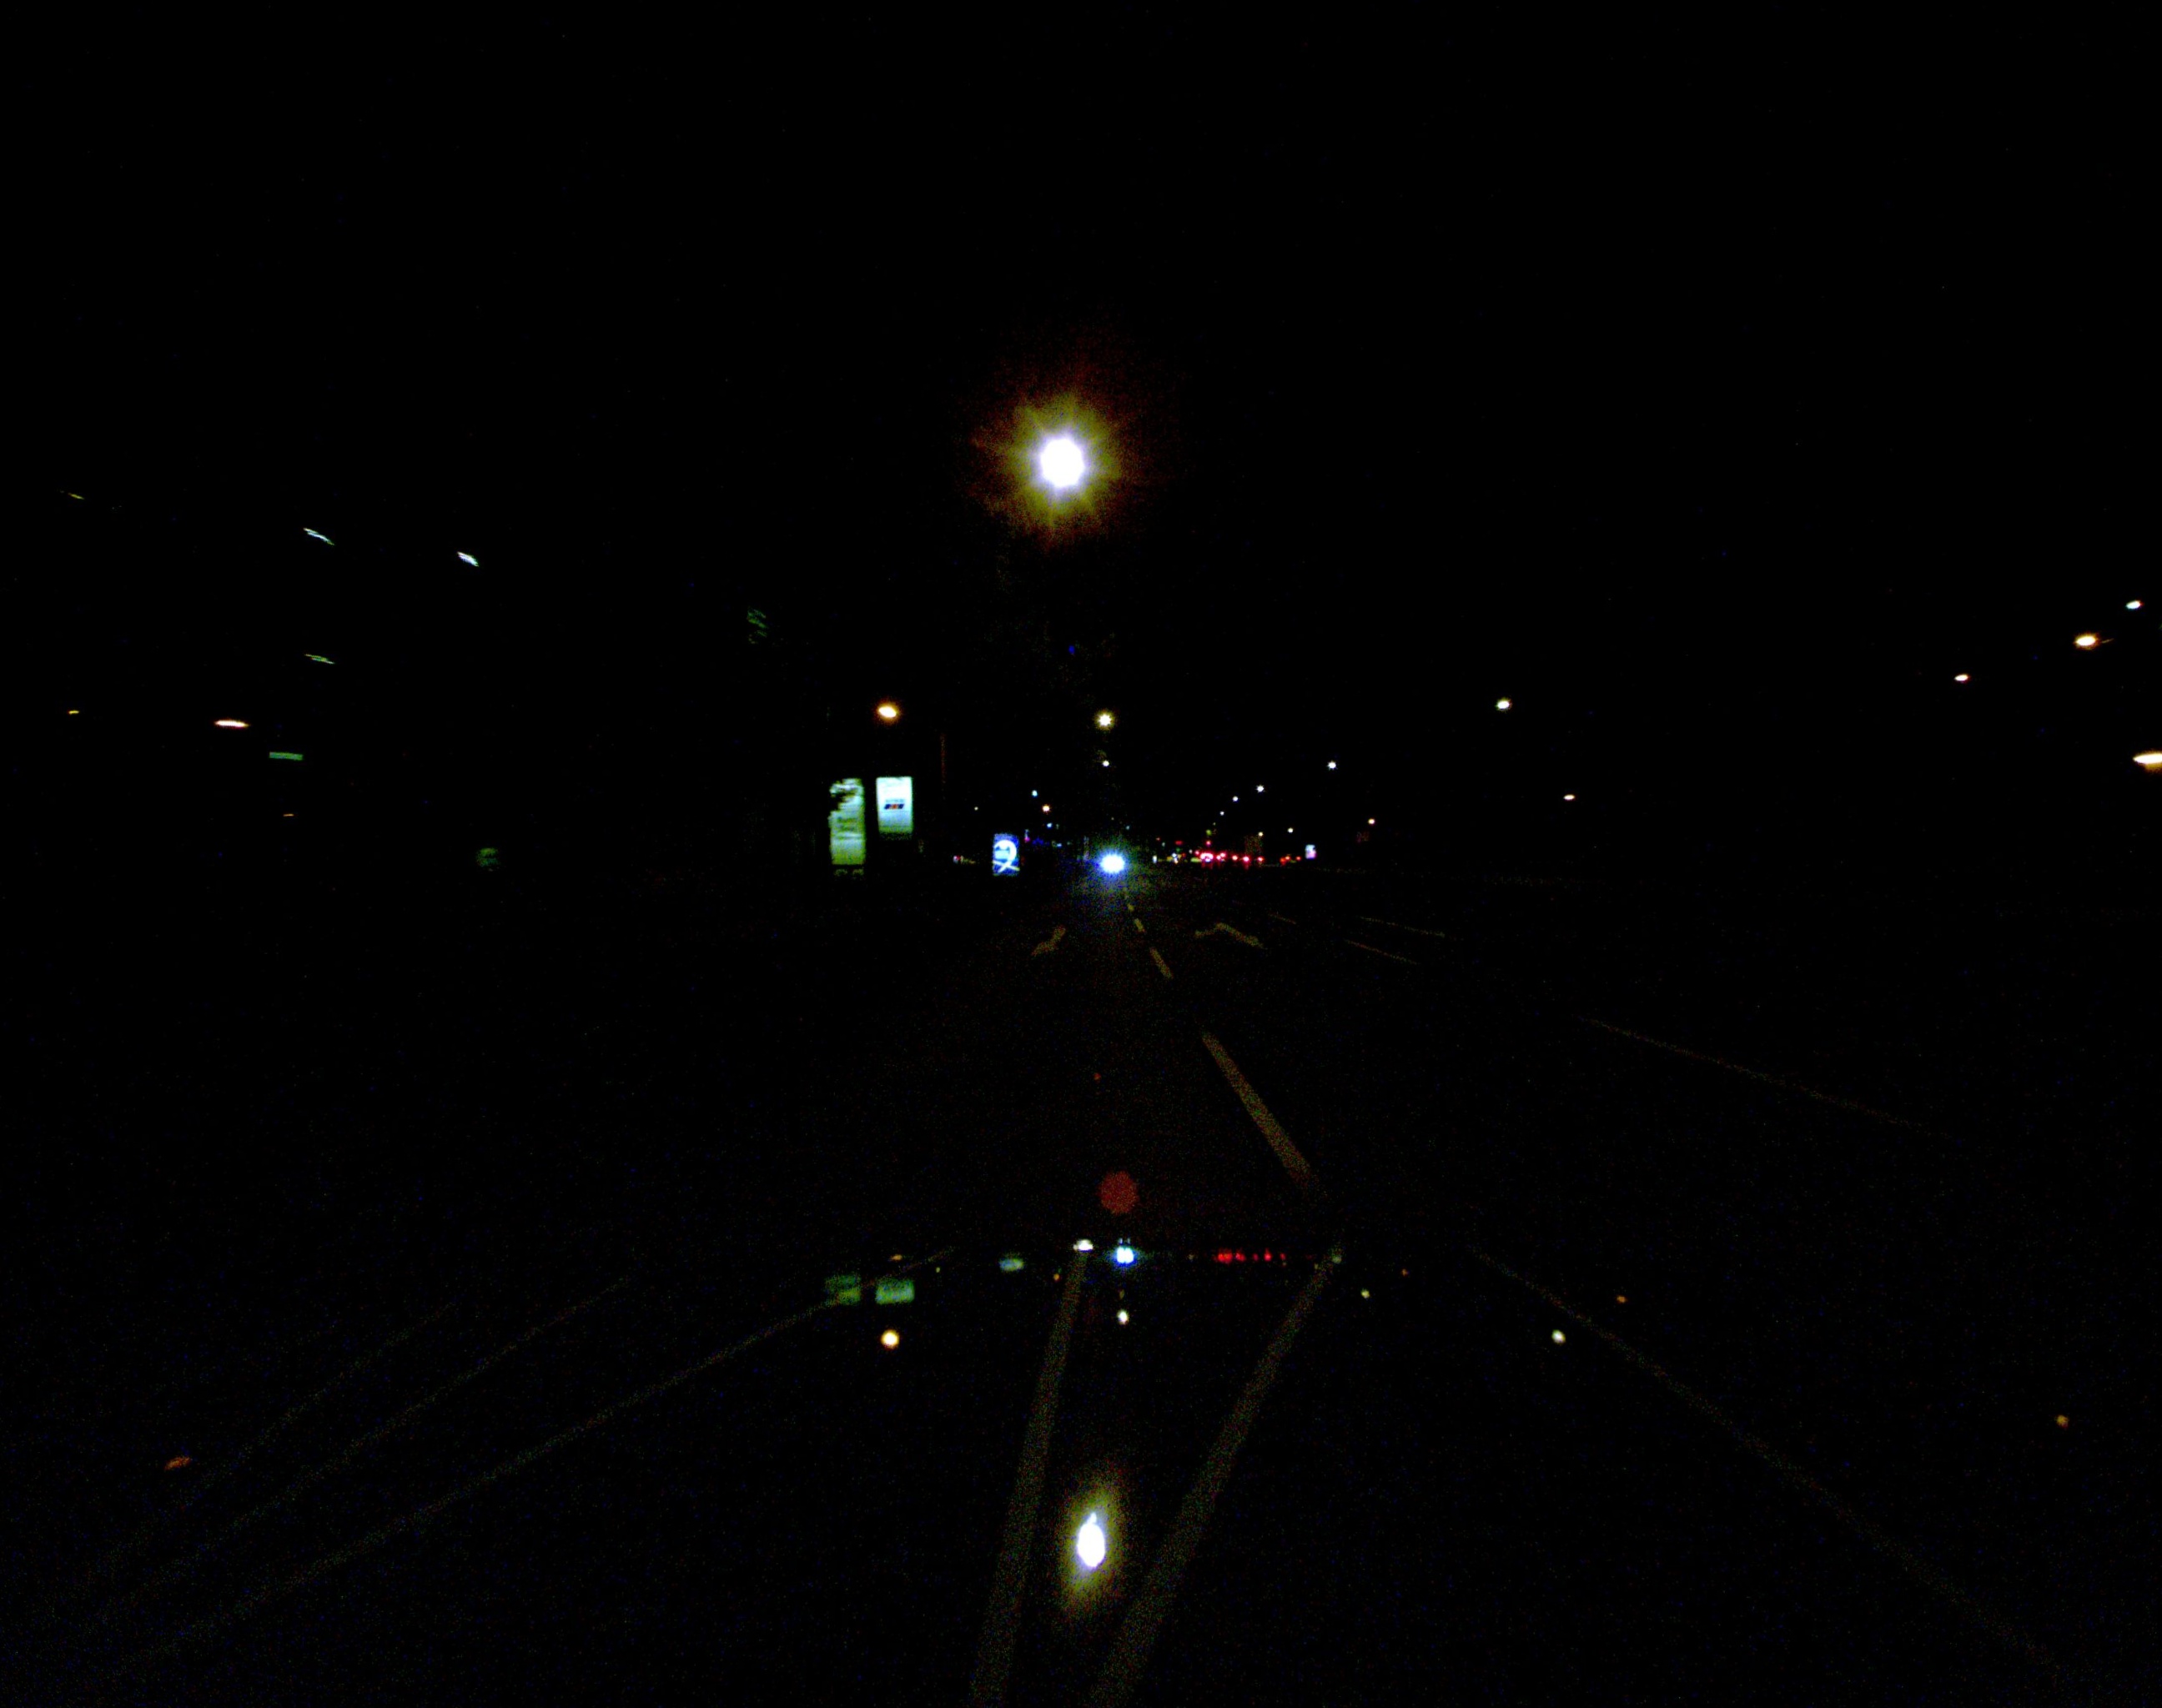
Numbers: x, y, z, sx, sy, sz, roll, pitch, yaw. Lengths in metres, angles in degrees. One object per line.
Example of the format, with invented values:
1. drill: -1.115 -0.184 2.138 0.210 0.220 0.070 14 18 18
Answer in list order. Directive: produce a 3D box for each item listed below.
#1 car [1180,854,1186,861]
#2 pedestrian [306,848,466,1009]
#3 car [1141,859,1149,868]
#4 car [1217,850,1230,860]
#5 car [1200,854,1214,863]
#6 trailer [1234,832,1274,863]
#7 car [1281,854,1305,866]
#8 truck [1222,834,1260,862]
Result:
1. car: 30.580 1.110 227.742 1.793 1.896 4.001 -2 1 7
2. pedestrian: -7.681 0.780 8.453 0.854 1.697 0.957 0 1 1
3. car: 16.239 2.335 192.742 1.793 2.002 4.001 -2 1 7
4. car: 25.672 0.190 137.110 1.729 1.616 3.962 -3 1 3
5. car: 22.132 0.754 133.570 1.809 1.490 4.084 -1 1 0
6. trailer: 24.330 -0.915 107.438 3.705 3.966 8.394 -3 1 1
7. car: 26.951 0.765 96.590 1.991 1.472 4.204 0 0 1
8. truck: 24.543 -0.997 116.902 3.690 3.932 10.420 -3 1 1
